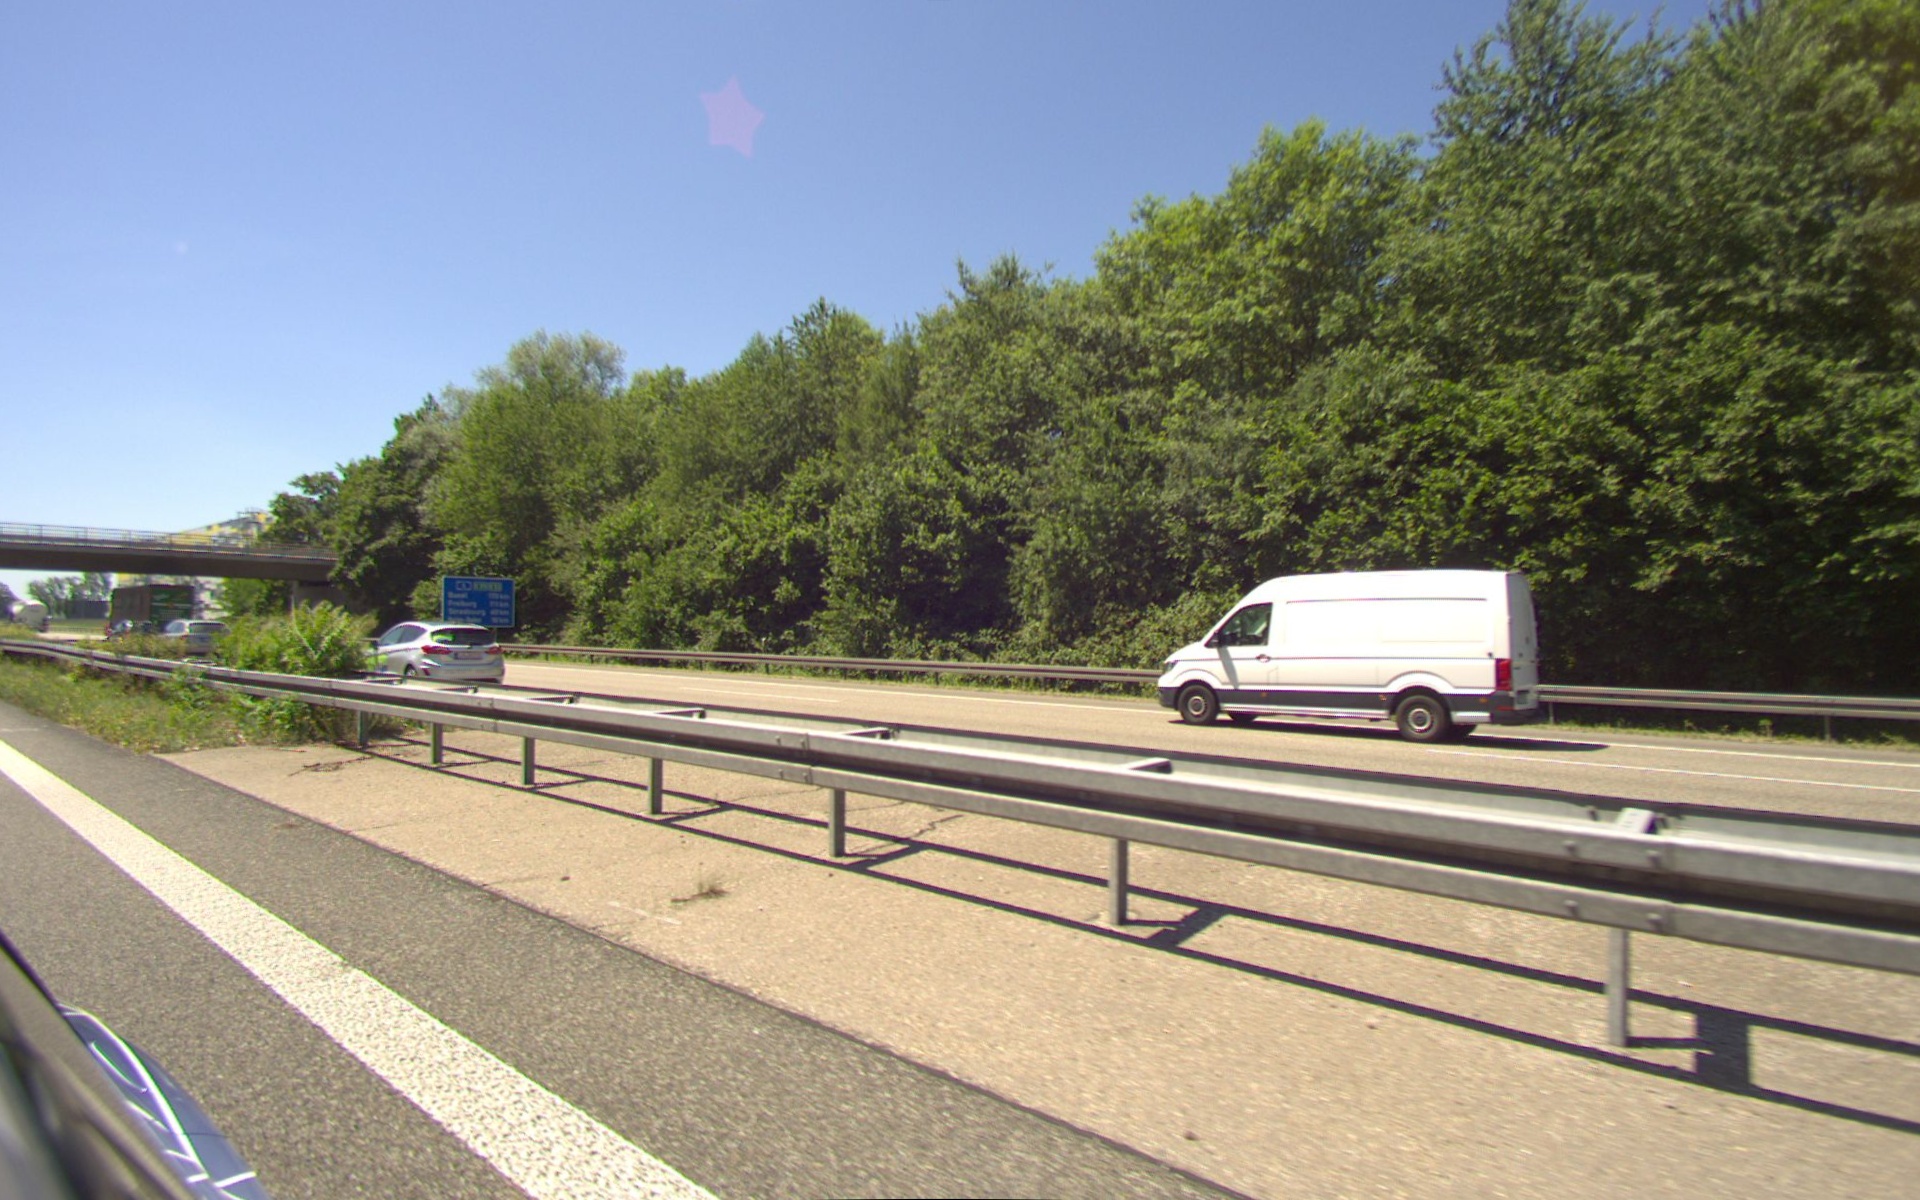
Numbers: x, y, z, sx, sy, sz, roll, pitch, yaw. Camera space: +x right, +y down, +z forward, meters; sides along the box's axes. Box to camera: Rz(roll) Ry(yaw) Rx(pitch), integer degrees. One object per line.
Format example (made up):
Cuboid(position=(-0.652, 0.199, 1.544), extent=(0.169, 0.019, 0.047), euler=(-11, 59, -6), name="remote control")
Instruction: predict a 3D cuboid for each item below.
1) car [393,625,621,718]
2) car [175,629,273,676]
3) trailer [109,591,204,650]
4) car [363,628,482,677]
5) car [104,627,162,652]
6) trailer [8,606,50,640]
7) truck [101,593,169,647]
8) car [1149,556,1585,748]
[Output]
Cuboid(position=(-8.297, 1.205, 18.315), extent=(4.868, 1.461, 1.829), euler=(-1, -3, 40), name="car")
Cuboid(position=(-23.315, 1.618, 32.017), extent=(3.771, 1.413, 1.651), euler=(-1, -2, 40), name="car")
Cuboid(position=(-60.310, 1.542, 75.760), extent=(12.734, 4.090, 3.184), euler=(-1, -2, 41), name="trailer")
Cuboid(position=(-16.924, 1.607, 31.774), extent=(4.703, 1.413, 1.651), euler=(-1, -2, 40), name="car")
Cuboid(position=(-49.391, 2.334, 60.409), extent=(4.868, 1.461, 1.829), euler=(-1, -3, 40), name="car")
Cuboid(position=(-111.693, 2.798, 121.317), extent=(12.068, 3.823, 2.334), euler=(-1, -4, 41), name="trailer")
Cuboid(position=(-65.282, 1.619, 80.082), extent=(5.615, 4.090, 3.184), euler=(-1, -2, 41), name="truck")
Cuboid(position=(6.317, 0.785, 16.407), extent=(6.224, 2.572, 2.065), euler=(-1, -3, 41), name="car")
